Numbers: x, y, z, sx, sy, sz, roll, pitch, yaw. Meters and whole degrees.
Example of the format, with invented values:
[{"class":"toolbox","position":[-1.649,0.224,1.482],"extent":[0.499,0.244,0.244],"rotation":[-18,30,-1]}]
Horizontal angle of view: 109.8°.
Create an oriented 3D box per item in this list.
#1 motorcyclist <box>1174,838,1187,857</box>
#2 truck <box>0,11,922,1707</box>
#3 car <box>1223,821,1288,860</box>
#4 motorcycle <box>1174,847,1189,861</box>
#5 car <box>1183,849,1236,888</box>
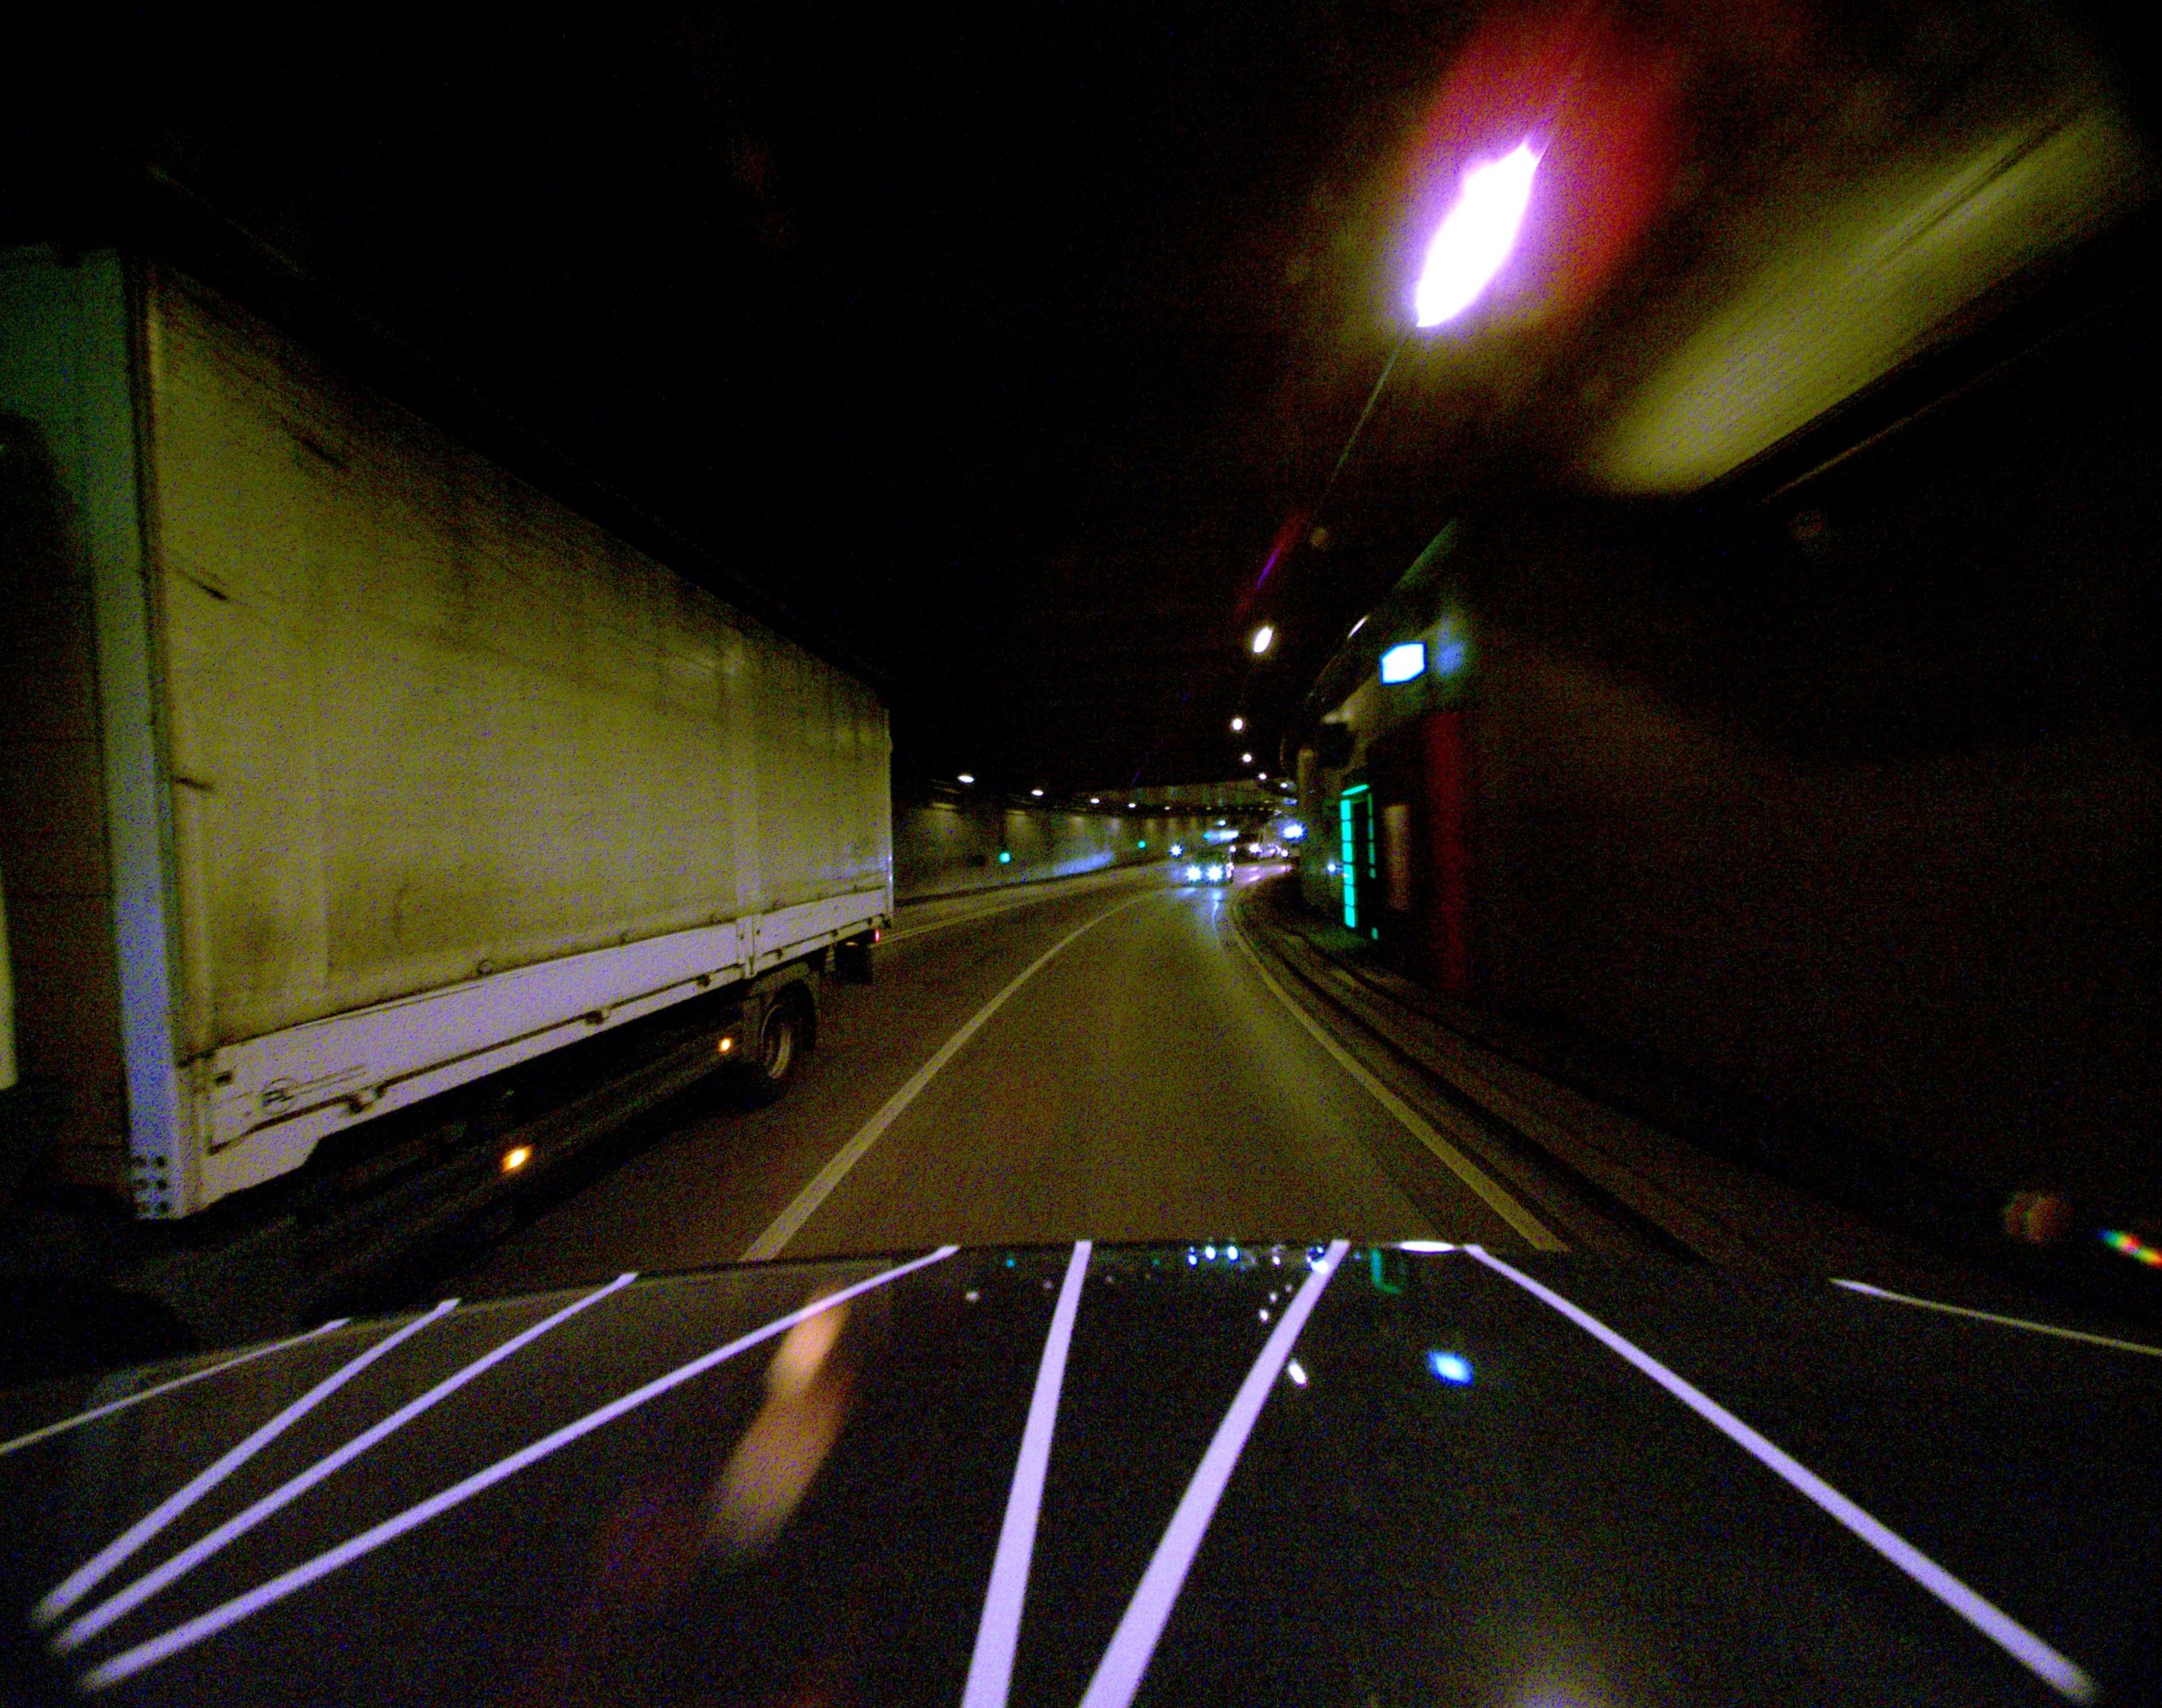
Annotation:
[{"class":"motorcyclist","position":[8.048,-0.522,61.503],"extent":[0.745,1.482,0.788],"rotation":[-4,2,25]},{"class":"truck","position":[-3.078,0.132,3.530],"extent":[2.636,3.220,7.416],"rotation":[-3,1,3]},{"class":"car","position":[13.544,-1.105,58.472],"extent":[2.555,2.752,7.363],"rotation":[-2,1,31]},{"class":"motorcycle","position":[8.150,-0.023,61.604],"extent":[0.549,0.970,1.837],"rotation":[-4,1,25]},{"class":"car","position":[5.725,0.595,33.452],"extent":[1.719,1.455,4.004],"rotation":[-2,1,17]}]
